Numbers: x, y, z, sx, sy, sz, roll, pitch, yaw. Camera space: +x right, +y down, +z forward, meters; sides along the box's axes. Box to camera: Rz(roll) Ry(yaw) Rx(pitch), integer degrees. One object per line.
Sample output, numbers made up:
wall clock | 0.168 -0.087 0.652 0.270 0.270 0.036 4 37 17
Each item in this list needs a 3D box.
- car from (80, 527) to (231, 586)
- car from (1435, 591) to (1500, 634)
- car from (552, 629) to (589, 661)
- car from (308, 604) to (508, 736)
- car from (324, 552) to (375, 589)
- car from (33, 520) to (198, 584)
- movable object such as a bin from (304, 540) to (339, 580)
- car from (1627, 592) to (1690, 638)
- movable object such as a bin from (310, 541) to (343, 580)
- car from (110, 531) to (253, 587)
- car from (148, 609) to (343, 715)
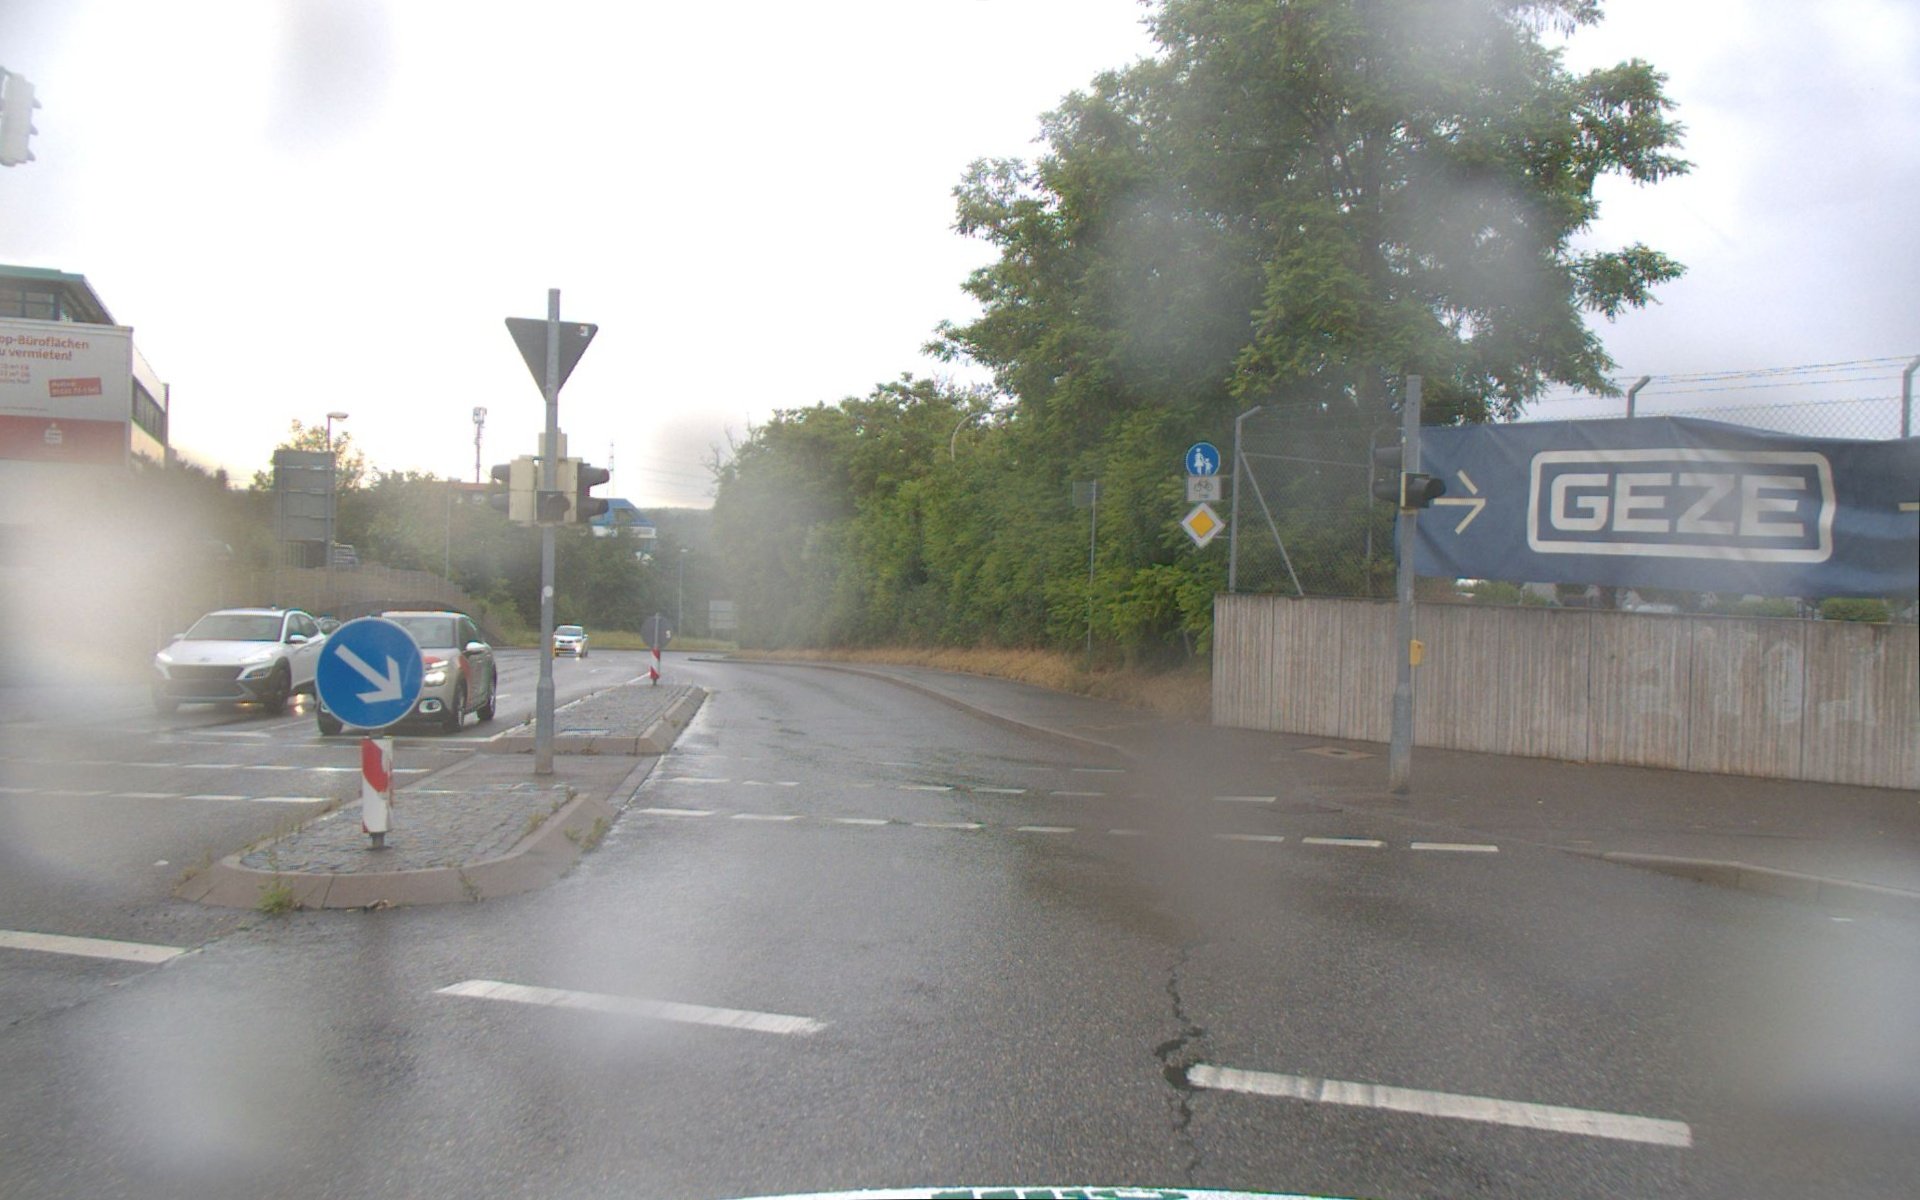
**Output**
car | -23.854 -1.293 49.041 3.907 1.614 1.901 1 -2 24
car | 20.152 0.506 65.583 1.636 1.634 3.522 1 0 32
car | -19.050 2.203 81.008 1.624 1.454 3.782 1 0 -12
car | -6.974 0.838 21.292 1.629 1.521 3.994 1 -1 -7
car | -27.877 -1.328 75.648 1.797 1.467 3.983 2 -2 -15
car | -23.588 -1.344 46.223 3.904 1.614 1.902 1 -2 20
movable object such as a bin | -25.101 -1.563 65.067 1.066 1.462 1.440 2 -2 -16
car | 25.804 0.570 61.063 1.636 1.634 3.522 1 0 32
movable object such as a bin | -25.478 -1.563 66.536 1.066 1.462 1.440 2 -2 -16
car | -24.471 -1.290 51.985 3.907 1.614 1.901 1 -2 24
car | -11.070 0.922 25.912 1.687 1.521 3.994 1 -1 -7
